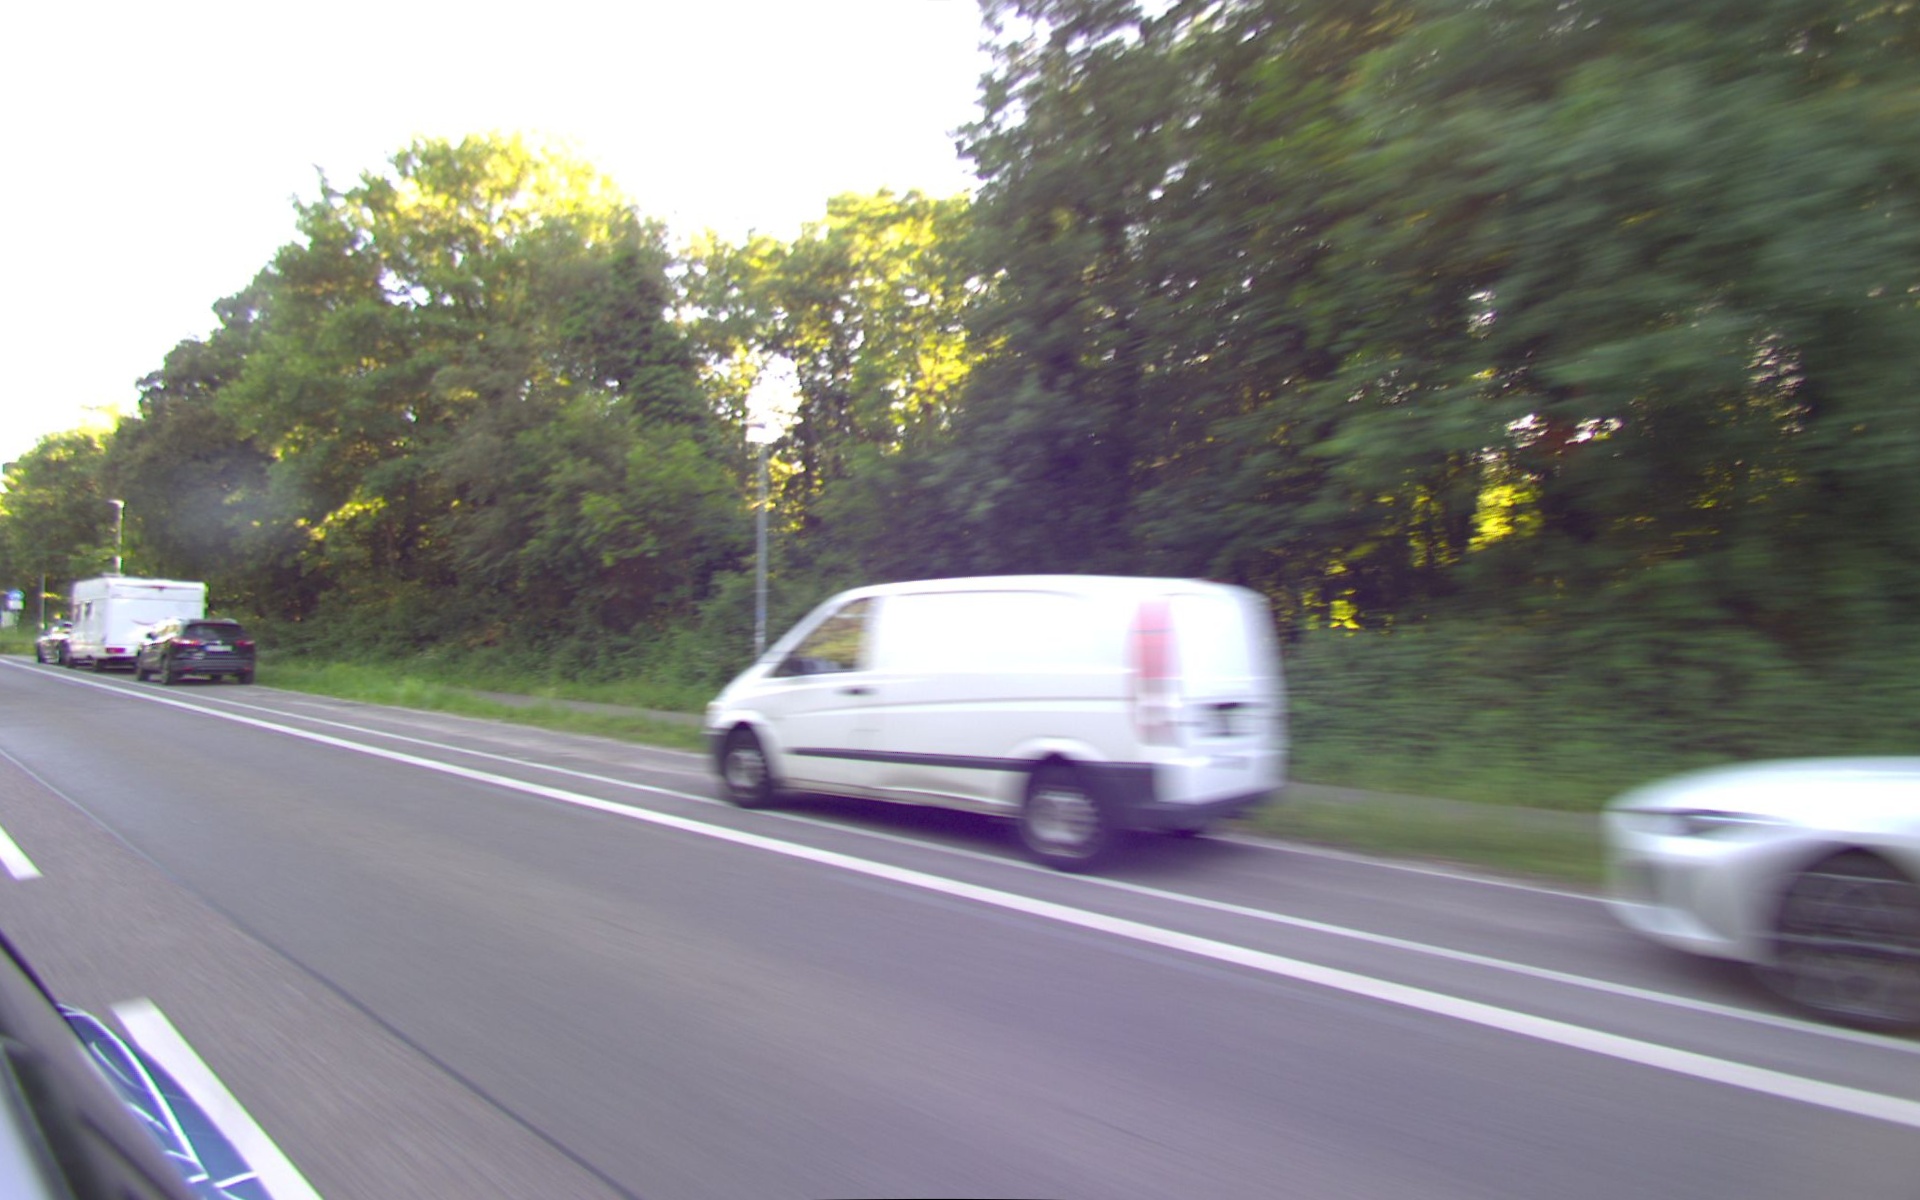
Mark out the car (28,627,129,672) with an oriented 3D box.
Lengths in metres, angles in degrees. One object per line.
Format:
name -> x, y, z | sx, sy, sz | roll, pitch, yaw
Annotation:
car -> -30.947, 1.706, 35.473 | 4.675, 1.487, 1.809 | -1, -3, 38

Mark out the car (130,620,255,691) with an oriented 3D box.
car -> -19.233, 1.348, 25.291 | 4.272, 1.644, 1.628 | -1, -4, 42

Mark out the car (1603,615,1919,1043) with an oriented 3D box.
car -> 5.035, 0.850, 3.517 | 4.522, 1.552, 1.756 | -1, -3, 41

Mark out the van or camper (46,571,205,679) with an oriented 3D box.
van or camper -> -25.785, 0.789, 31.141 | 7.103, 2.993, 2.291 | -1, -4, 39

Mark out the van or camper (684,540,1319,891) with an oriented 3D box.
van or camper -> 0.050, 0.696, 7.855 | 4.853, 1.926, 1.816 | -1, -3, 41
